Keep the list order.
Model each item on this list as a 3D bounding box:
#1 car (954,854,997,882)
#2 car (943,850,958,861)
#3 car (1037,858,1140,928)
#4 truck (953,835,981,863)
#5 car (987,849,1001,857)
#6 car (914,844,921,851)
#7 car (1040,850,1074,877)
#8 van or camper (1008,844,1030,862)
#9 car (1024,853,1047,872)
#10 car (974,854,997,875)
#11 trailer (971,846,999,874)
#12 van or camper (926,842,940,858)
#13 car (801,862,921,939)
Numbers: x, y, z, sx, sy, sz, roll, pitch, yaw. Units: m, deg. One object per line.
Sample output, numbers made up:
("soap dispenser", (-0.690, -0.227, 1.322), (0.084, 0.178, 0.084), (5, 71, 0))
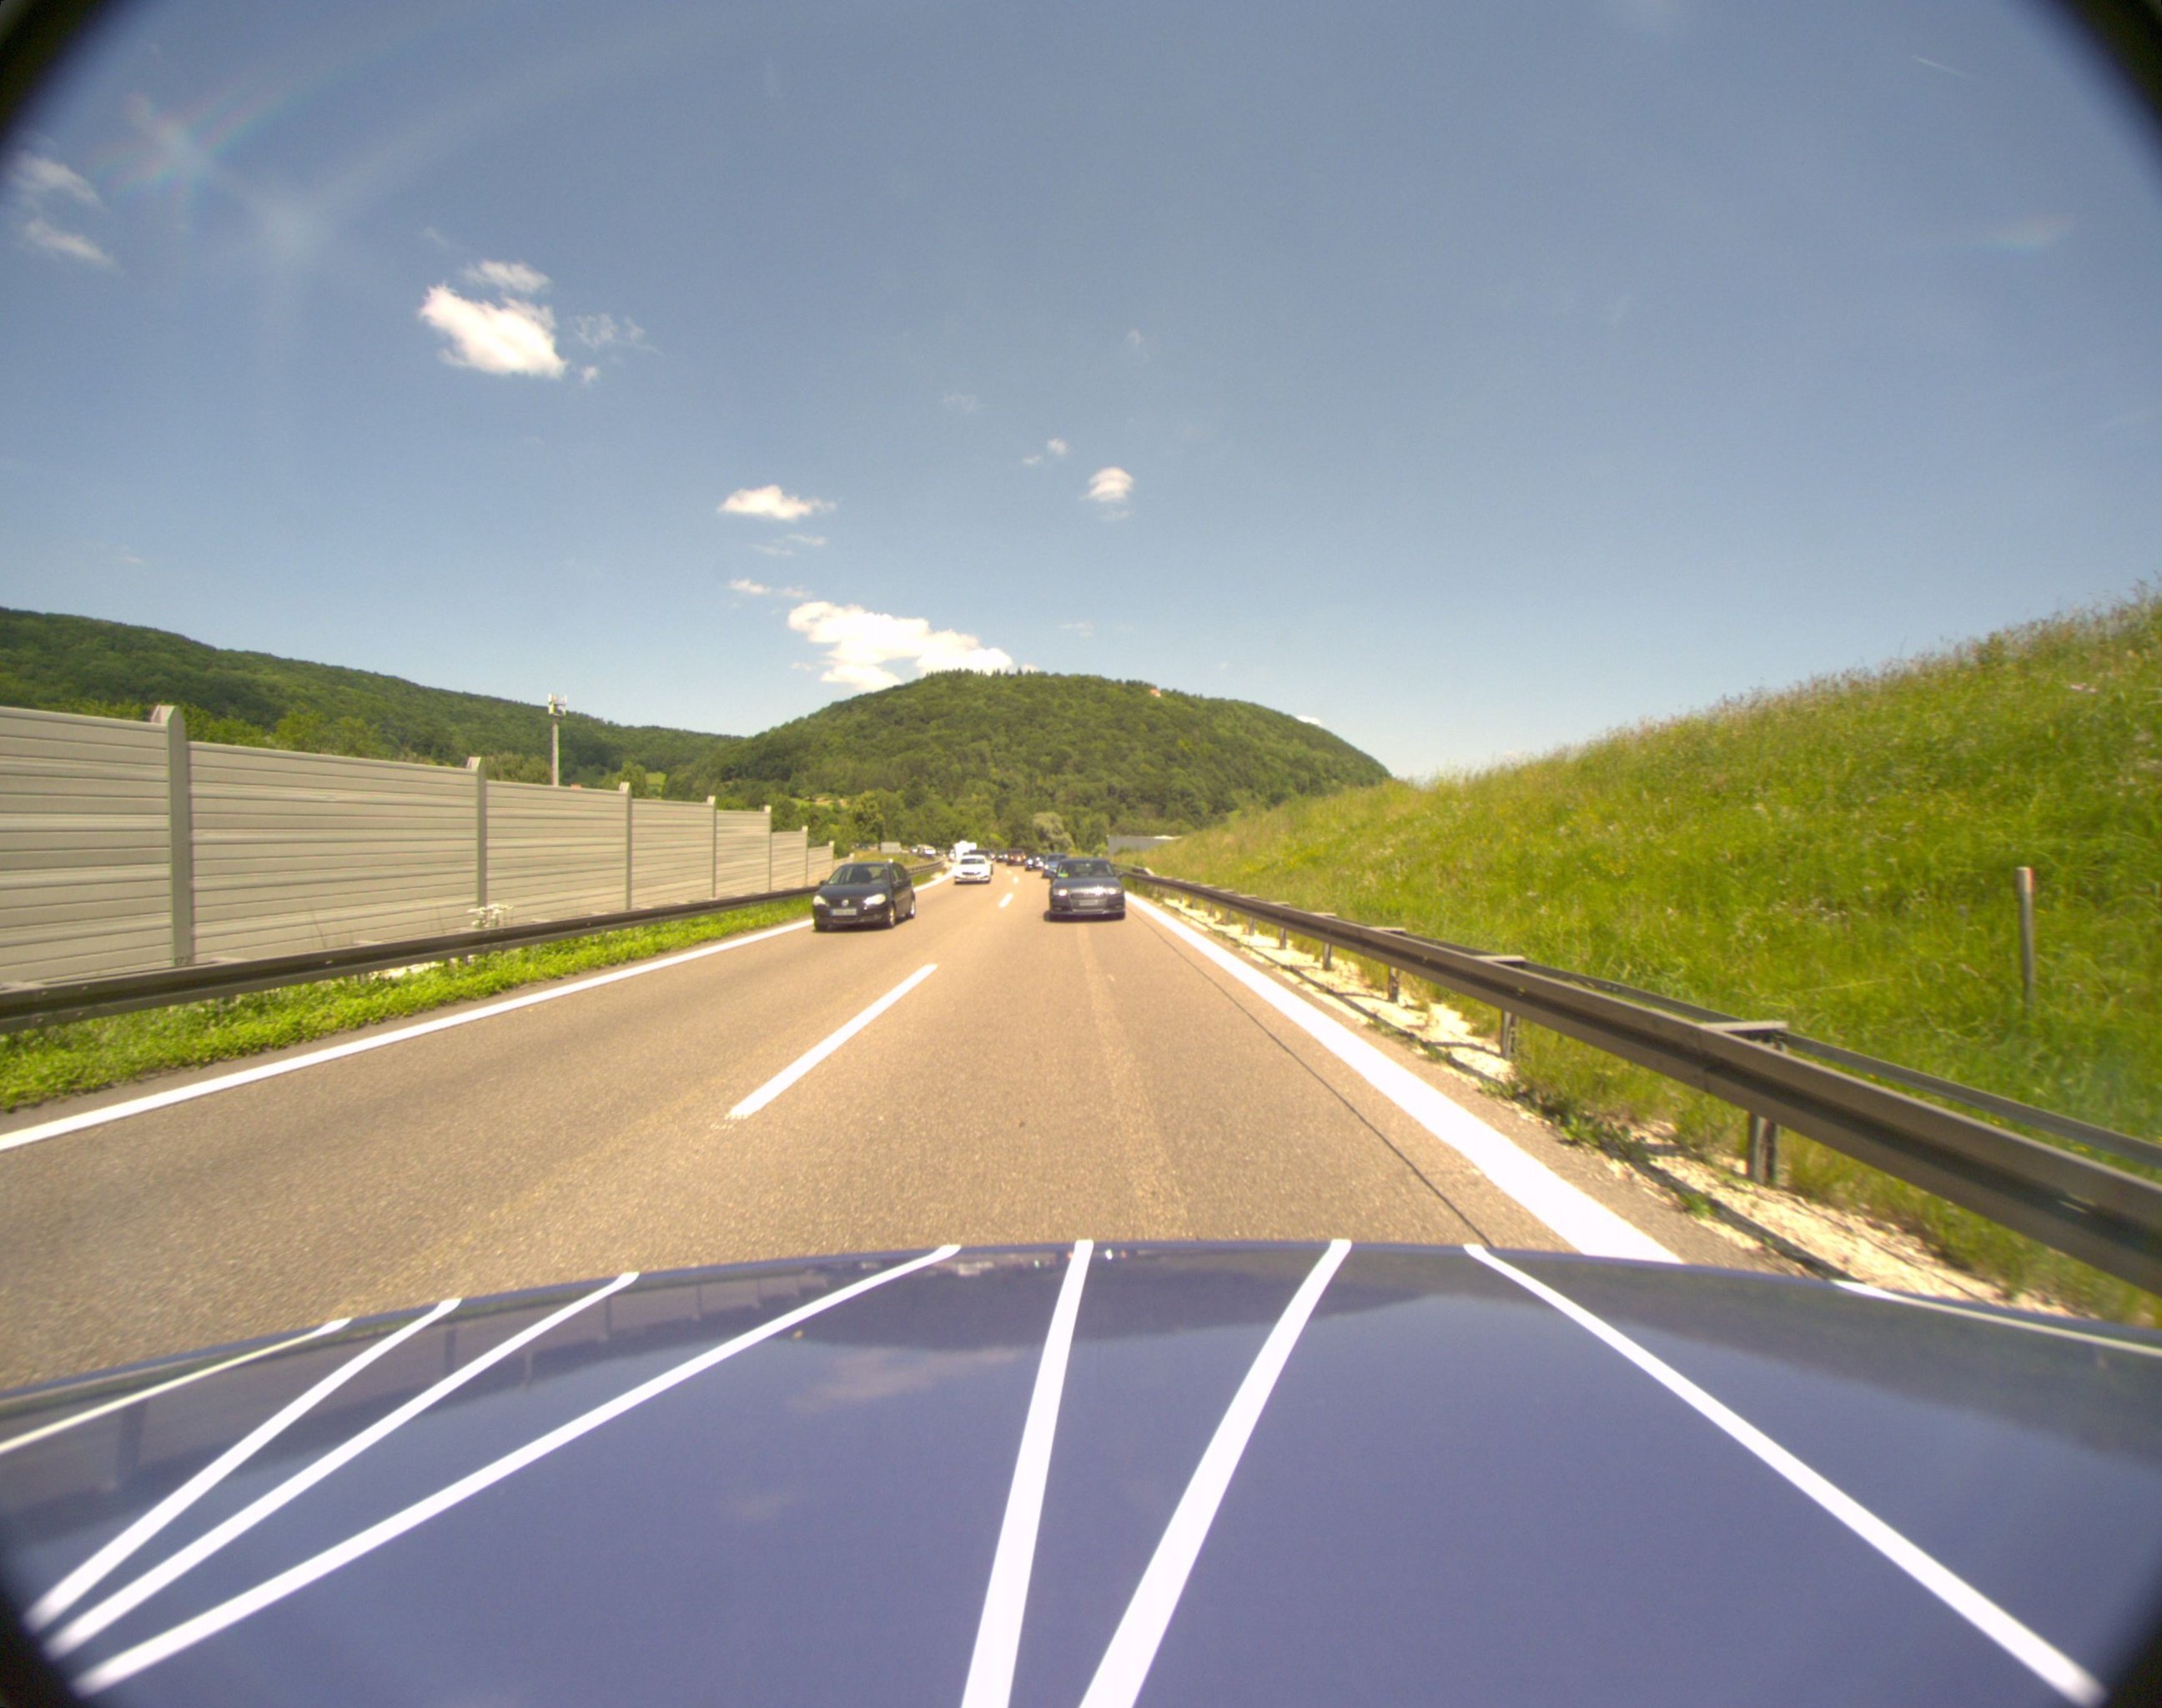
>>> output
("car", (-5.492, 0.732, 40.046), (1.908, 1.422, 3.721), (-1, -1, -3))
("car", (-18.757, 0.216, 109.025), (1.700, 1.523, 3.675), (-4, 1, -16))
("car", (0.055, 0.838, 18.109), (1.756, 1.382, 4.051), (-2, 0, -9))
("truck", (-13.633, -0.601, 90.355), (2.605, 3.089, 6.850), (-4, 1, -13))
("car", (-12.454, -0.105, 108.669), (1.493, 1.102, 3.209), (-3, 1, -16))
("car", (-38.650, -1.533, 179.284), (1.247, 1.470, 2.956), (-4, 1, -16))
("car", (-1.432, 0.523, 44.578), (1.696, 1.422, 3.461), (-4, 1, -5))
("van or camper", (-6.620, -0.086, 80.414), (1.819, 1.855, 3.609), (-2, 1, -12))
("car", (-3.646, 0.648, 60.914), (1.287, 1.306, 3.448), (-4, 2, -12))
("car", (-6.639, 0.694, 53.004), (1.489, 1.375, 3.736), (0, 0, -6))
("trailer", (-7.203, 0.422, 56.845), (2.000, 1.958, 3.997), (-1, 0, -8))
("van or camper", (-28.455, -0.787, 145.933), (1.912, 3.010, 4.866), (-1, 1, -19))
("car", (-4.842, 0.952, 17.240), (1.696, 1.414, 3.837), (-2, 1, -3))
